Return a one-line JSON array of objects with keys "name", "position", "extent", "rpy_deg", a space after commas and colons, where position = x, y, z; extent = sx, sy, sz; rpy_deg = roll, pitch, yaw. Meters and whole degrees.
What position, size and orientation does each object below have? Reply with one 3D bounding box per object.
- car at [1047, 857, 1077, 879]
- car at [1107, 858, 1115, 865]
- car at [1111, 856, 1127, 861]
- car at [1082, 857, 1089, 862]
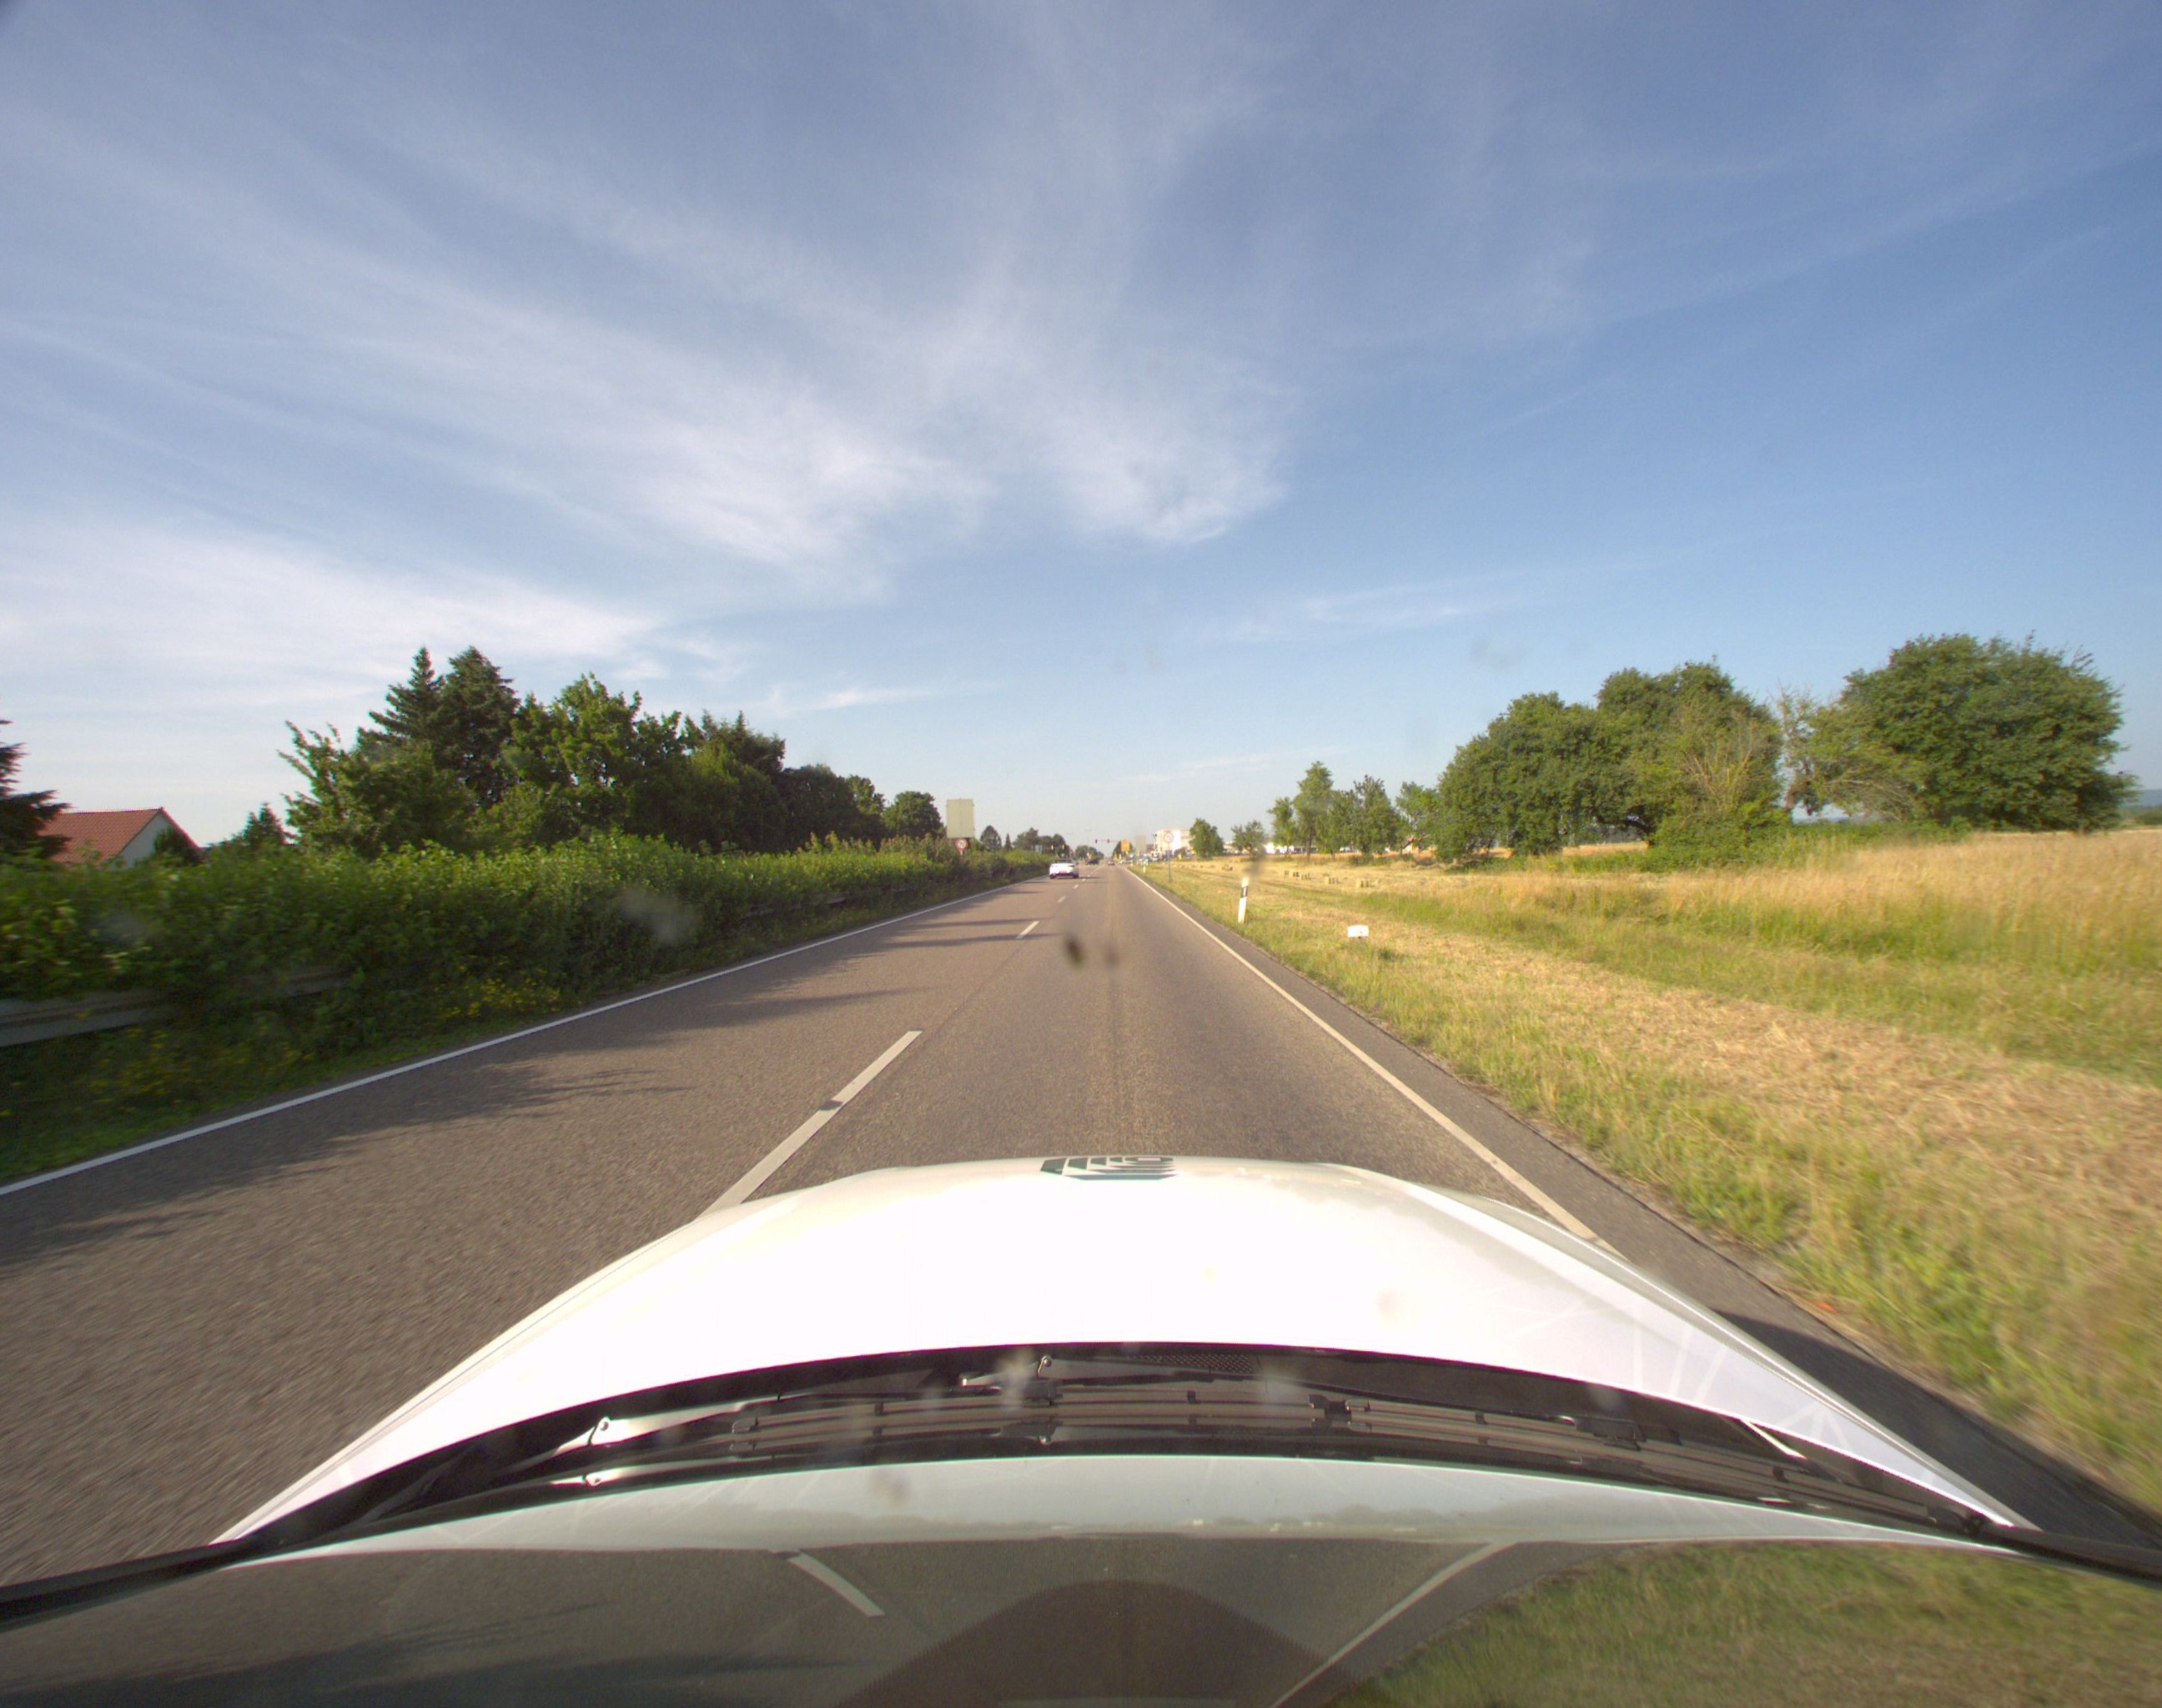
[{"name": "car", "position": [-1.285, 0.944, 56.471], "extent": [1.903, 1.422, 4.001], "rpy_deg": [-1, 0, 1]}, {"name": "car", "position": [7.362, 1.848, 202.338], "extent": [1.986, 1.486, 4.001], "rpy_deg": [-1, 0, 1]}, {"name": "car", "position": [10.748, 1.220, 231.396], "extent": [3.998, 1.408, 1.942], "rpy_deg": [-1, 0, -18]}, {"name": "car", "position": [1.444, 1.634, 243.218], "extent": [1.940, 1.408, 4.003], "rpy_deg": [-1, 0, 3]}]
